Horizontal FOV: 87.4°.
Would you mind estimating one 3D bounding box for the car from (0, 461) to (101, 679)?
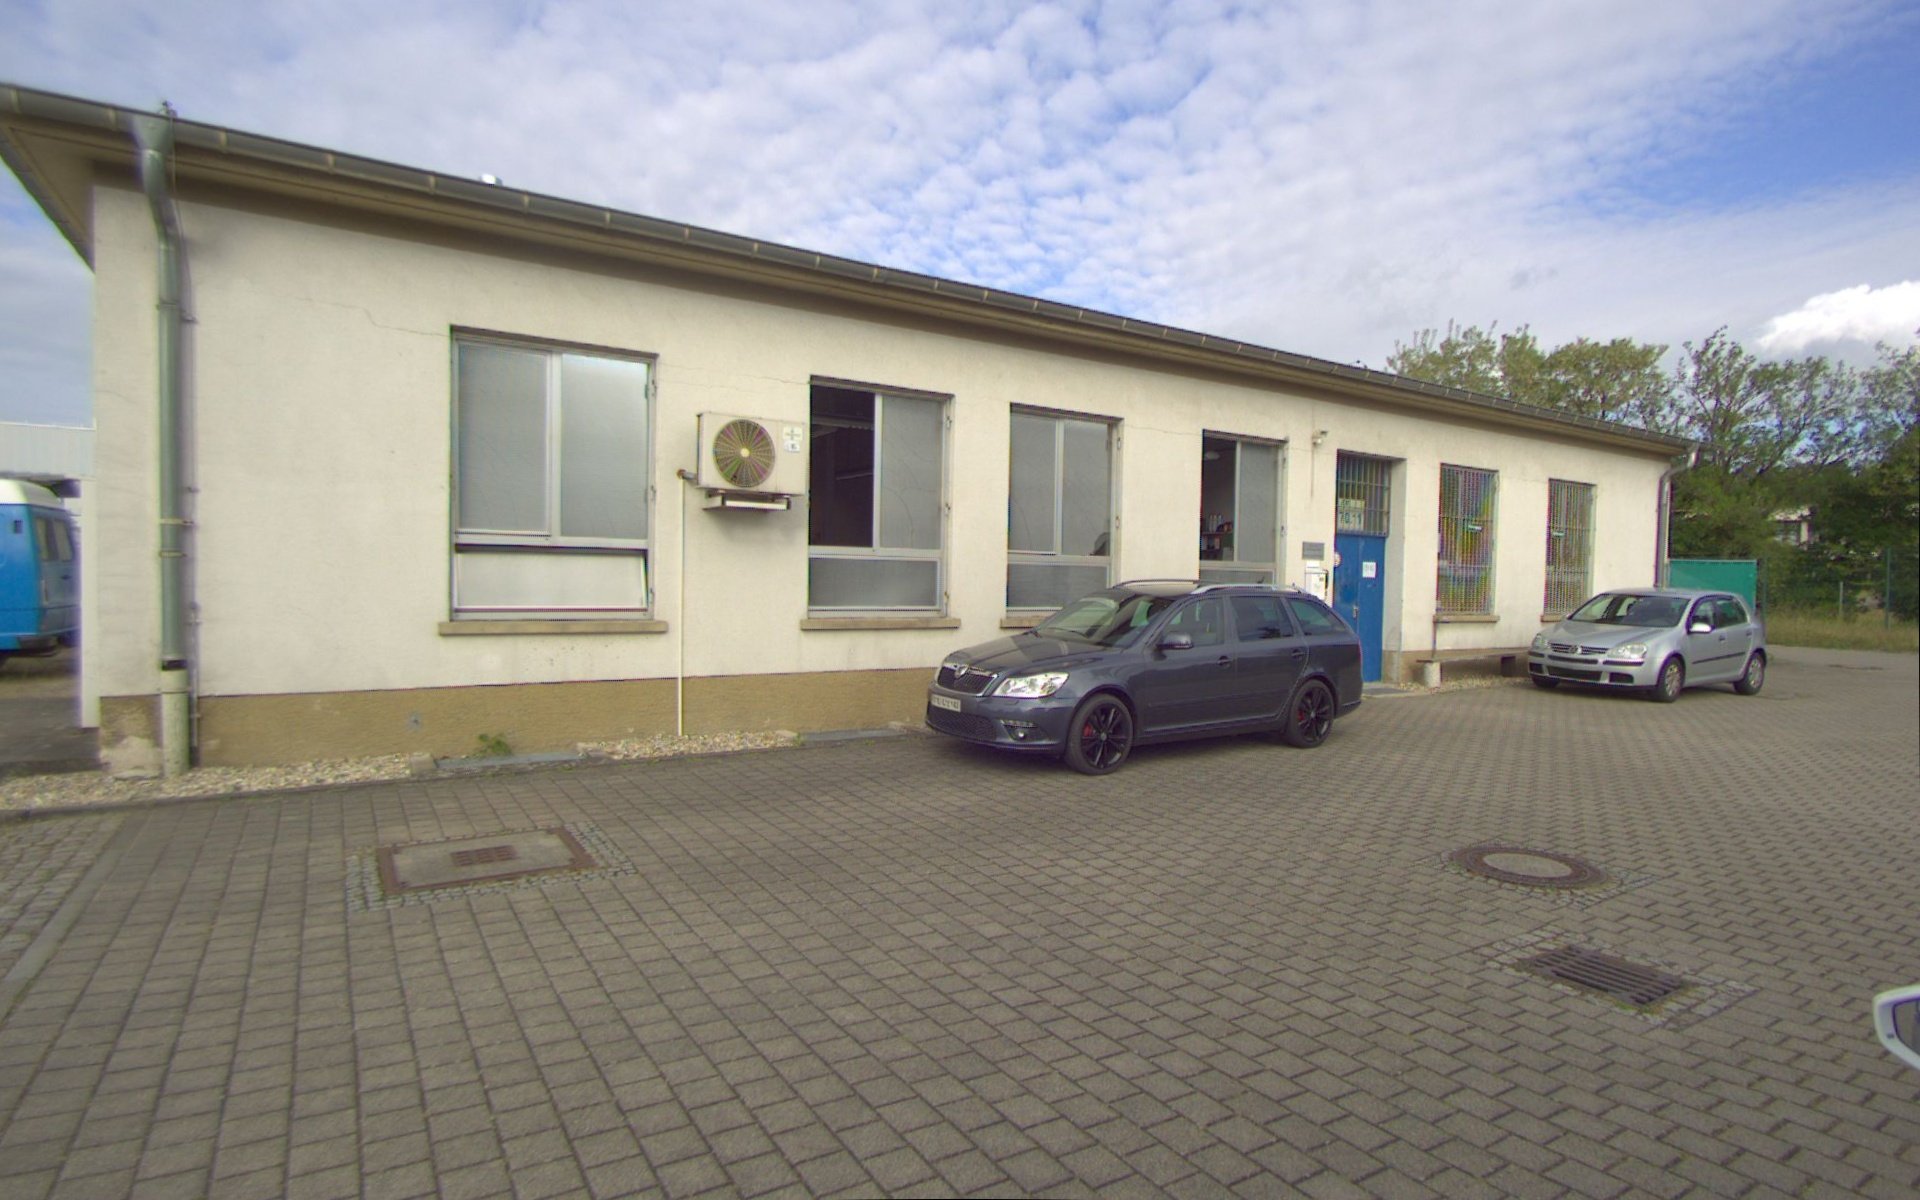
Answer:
[{"bbox_3d":[-13.840,-0.344,11.801,5.333,2.617,1.984,-1,2,-30],"label":"car"}]

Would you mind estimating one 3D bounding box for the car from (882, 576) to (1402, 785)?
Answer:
[{"bbox_3d":[1.815,0.550,9.269,4.761,1.481,1.912,0,1,-34],"label":"car"}]

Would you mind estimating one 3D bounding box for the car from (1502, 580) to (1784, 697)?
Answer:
[{"bbox_3d":[9.961,0.462,14.562,4.322,1.458,1.912,0,1,-34],"label":"car"}]
